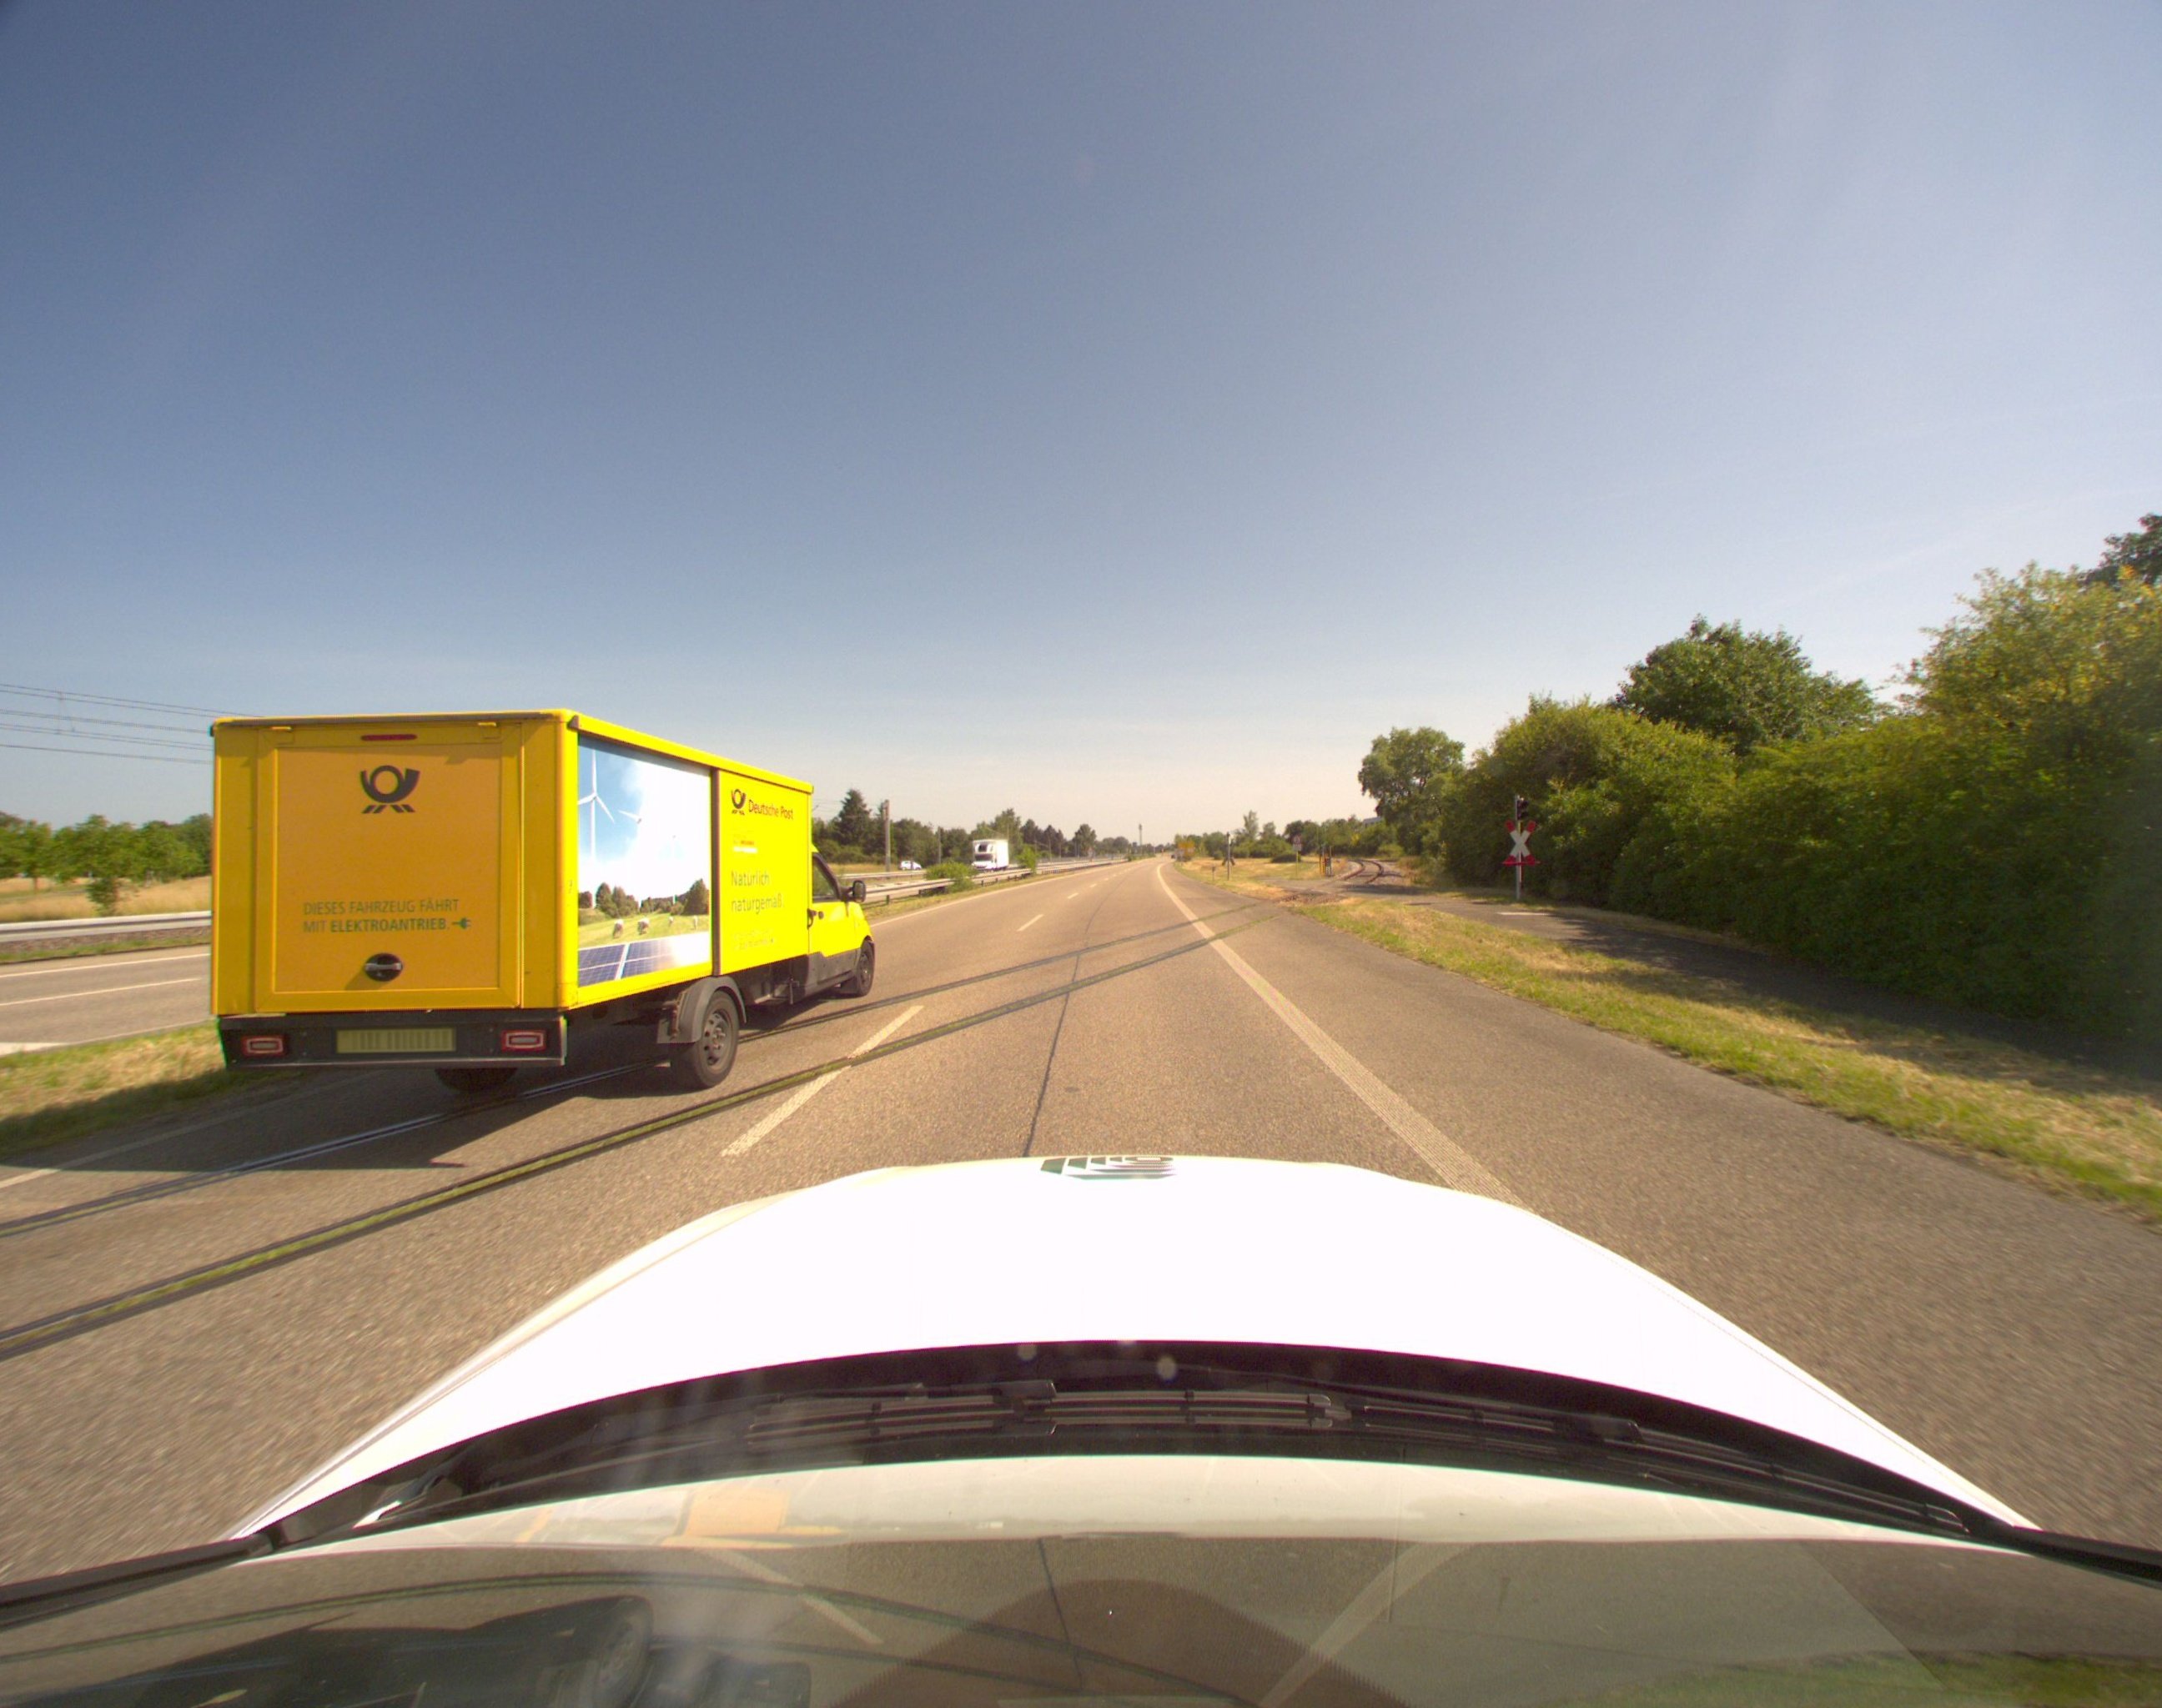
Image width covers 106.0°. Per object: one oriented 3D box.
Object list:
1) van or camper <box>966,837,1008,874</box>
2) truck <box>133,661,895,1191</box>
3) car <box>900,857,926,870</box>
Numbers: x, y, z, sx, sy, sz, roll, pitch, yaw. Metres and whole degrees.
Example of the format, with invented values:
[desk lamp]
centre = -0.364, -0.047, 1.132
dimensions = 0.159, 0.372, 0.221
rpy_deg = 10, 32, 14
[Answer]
[van or camper]
centre = -9.711, 0.159, 85.182
dimensions = 2.864, 3.680, 8.651
rpy_deg = -1, 0, 3
[truck]
centre = -3.364, 0.344, 6.813
dimensions = 2.104, 2.457, 5.917
rpy_deg = -1, 0, 1
[car]
centre = -28.661, 1.641, 138.810
dimensions = 4.003, 2.013, 1.985
rpy_deg = -1, 0, -23
